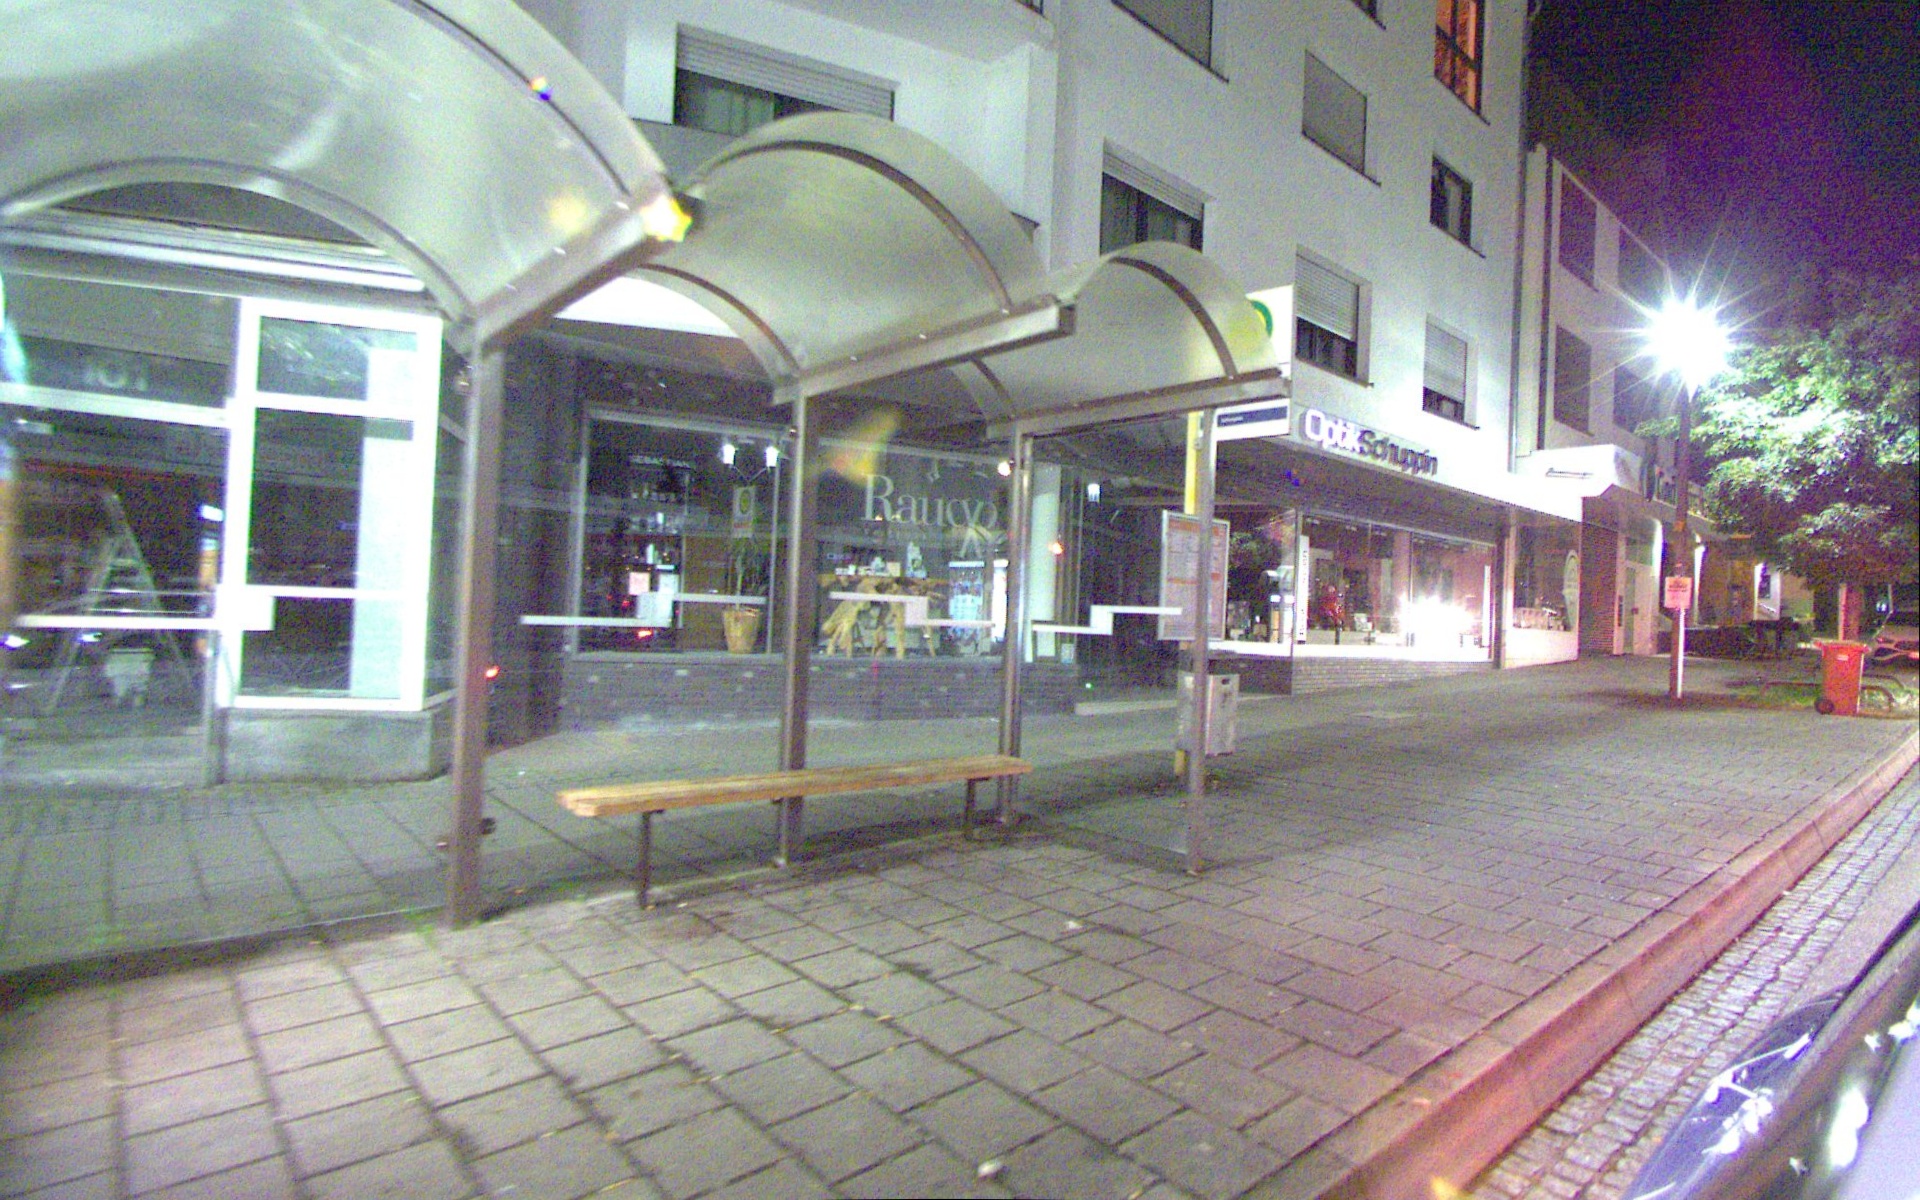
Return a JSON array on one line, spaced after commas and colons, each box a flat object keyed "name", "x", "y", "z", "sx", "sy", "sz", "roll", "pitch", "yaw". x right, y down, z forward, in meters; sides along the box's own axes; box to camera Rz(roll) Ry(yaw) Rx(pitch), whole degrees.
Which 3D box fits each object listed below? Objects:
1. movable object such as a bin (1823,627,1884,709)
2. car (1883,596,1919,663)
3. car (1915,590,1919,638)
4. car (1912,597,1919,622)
[{"name": "movable object such as a bin", "x": 11.128, "y": 0.829, "z": 12.613, "sx": 0.523, "sy": 0.949, "sz": 0.621, "roll": 0, "pitch": 1, "yaw": 38}, {"name": "car", "x": 23.557, "y": 0.683, "z": 24.263, "sx": 4.519, "sy": 1.459, "sz": 1.859, "roll": -1, "pitch": 3, "yaw": -45}, {"name": "car", "x": 34.988, "y": 0.512, "z": 35.660, "sx": 1.788, "sy": 1.661, "sz": 4.309, "roll": 4, "pitch": 3, "yaw": 44}, {"name": "car", "x": 59.541, "y": 0.539, "z": 62.052, "sx": 1.638, "sy": 1.485, "sz": 3.717, "roll": -1, "pitch": 0, "yaw": 43}]
